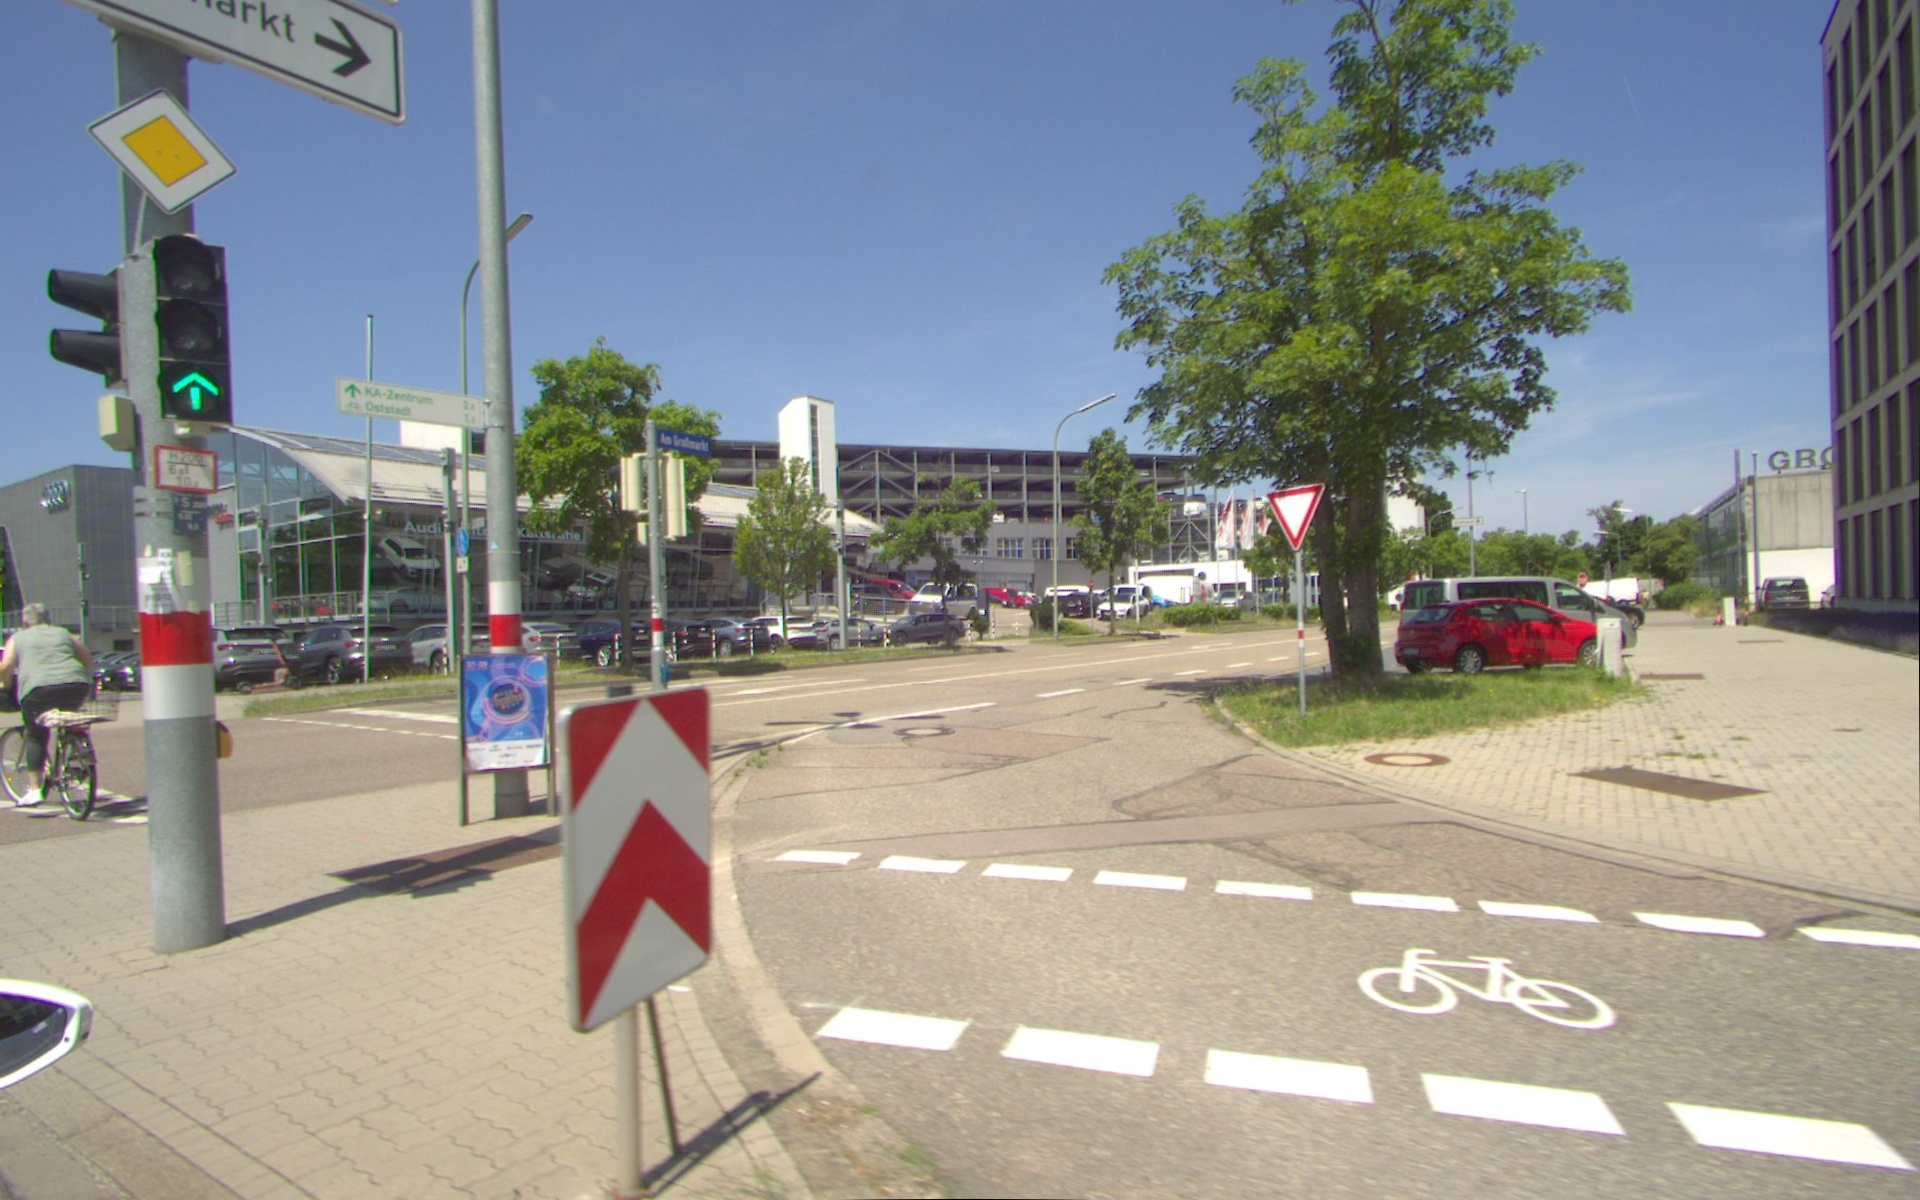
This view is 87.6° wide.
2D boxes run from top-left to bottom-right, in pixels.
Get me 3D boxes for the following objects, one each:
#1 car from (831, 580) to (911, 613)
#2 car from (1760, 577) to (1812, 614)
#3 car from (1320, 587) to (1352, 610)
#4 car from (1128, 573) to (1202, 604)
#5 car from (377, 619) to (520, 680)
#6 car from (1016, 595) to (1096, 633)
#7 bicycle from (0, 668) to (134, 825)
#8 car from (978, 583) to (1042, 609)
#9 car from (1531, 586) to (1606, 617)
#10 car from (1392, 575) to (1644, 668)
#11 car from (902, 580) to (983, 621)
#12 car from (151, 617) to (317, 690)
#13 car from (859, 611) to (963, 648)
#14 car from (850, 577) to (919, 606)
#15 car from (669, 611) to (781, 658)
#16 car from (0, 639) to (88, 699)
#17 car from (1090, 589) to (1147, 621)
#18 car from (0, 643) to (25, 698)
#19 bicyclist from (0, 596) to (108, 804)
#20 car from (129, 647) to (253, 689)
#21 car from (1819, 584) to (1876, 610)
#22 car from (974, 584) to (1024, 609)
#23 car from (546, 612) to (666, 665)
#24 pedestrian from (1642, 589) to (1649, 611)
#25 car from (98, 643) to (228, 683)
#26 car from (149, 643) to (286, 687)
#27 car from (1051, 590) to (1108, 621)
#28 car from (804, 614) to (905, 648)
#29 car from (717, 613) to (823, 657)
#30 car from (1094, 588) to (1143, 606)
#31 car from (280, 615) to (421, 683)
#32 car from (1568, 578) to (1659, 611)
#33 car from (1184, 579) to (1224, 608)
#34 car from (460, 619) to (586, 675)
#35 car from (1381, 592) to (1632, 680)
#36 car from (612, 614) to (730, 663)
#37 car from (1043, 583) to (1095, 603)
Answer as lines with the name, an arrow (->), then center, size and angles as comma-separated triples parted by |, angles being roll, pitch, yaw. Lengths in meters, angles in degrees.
car -> -4.904, -0.199, 55.787 | 1.889, 1.730, 4.559 | -2, 0, 35
car -> 44.106, -0.206, 53.518 | 1.772, 1.749, 3.977 | -2, -2, 35
car -> 35.639, -0.152, 94.921 | 1.894, 2.040, 3.975 | -2, 0, 35
car -> 13.859, -0.741, 67.864 | 4.522, 1.911, 1.904 | -2, 0, 31
car -> -14.929, 1.460, 29.216 | 3.938, 1.675, 1.844 | -2, -3, 29
car -> 4.790, 0.670, 49.450 | 1.889, 1.716, 4.559 | -2, 0, 35
bicycle -> -7.678, 1.159, 8.347 | 1.867, 1.147, 0.627 | -1, -1, 30
car -> 3.843, -0.264, 76.965 | 4.526, 1.821, 1.902 | -2, 0, 34
car -> 43.427, 0.158, 71.471 | 4.514, 2.039, 1.989 | -2, -2, 34
car -> 12.422, 0.455, 22.383 | 4.841, 1.911, 1.918 | -1, 0, -12
car -> -0.866, 0.023, 53.189 | 1.885, 1.992, 5.227 | -2, 0, 30
car -> -17.946, 1.336, 24.708 | 4.444, 1.578, 1.863 | -4, -1, 34
car -> -2.255, 1.345, 46.901 | 4.553, 1.491, 1.839 | -2, 1, -33
car -> -4.928, -0.517, 65.157 | 4.083, 1.744, 1.907 | -2, 0, 26
car -> -8.969, 1.343, 38.152 | 3.938, 1.675, 1.844 | -2, -3, 29
car -> -23.622, 1.618, 23.419 | 1.844, 1.407, 4.582 | -2, -3, 34
car -> 9.407, 0.307, 59.162 | 1.971, 1.727, 3.982 | -2, -2, 30
car -> -25.912, 1.754, 24.520 | 1.843, 1.407, 4.089 | -2, -3, 32
bicyclist -> -7.660, 0.806, 8.332 | 0.813, 1.626, 0.627 | -1, -2, 30
car -> -31.014, 2.716, 40.481 | 1.619, 1.600, 3.641 | -2, -3, 32
car -> 46.050, -0.141, 52.037 | 1.673, 1.171, 3.977 | -2, -3, 34
car -> 2.905, -0.218, 73.654 | 1.859, 1.728, 3.977 | -2, -1, 34
car -> -11.841, 1.283, 33.446 | 3.852, 1.675, 1.627 | -2, -1, 29
pedestrian -> 48.941, 0.021, 71.487 | 0.399, 1.580, 0.546 | -1, 0, 34
car -> -33.481, 2.620, 42.174 | 1.611, 1.592, 3.976 | -2, -3, 32
car -> -28.885, 2.508, 39.070 | 1.633, 1.642, 3.979 | -2, -3, 32
car -> 7.240, 0.375, 60.351 | 1.971, 1.727, 3.982 | -2, -2, 30
car -> -5.136, 1.499, 49.064 | 4.526, 1.491, 1.902 | -1, 0, -33
car -> -7.678, 1.424, 40.411 | 3.938, 1.675, 1.844 | -2, -3, 29
car -> 15.554, -0.305, 98.181 | 4.298, 1.674, 1.902 | -2, 0, 34
car -> -16.304, 1.316, 26.754 | 3.947, 1.675, 1.839 | -3, -3, 36
car -> 57.637, -0.429, 88.356 | 6.607, 2.552, 2.206 | -2, -2, 36
car -> 18.927, -0.460, 77.573 | 1.812, 2.039, 3.981 | -2, -2, 32
car -> -13.612, 1.415, 31.166 | 3.759, 1.637, 1.635 | -1, -1, 29
car -> 10.422, 0.676, 19.227 | 3.923, 1.451, 1.700 | -2, -1, -7
car -> -10.396, 1.415, 35.939 | 3.938, 1.675, 1.844 | -2, -3, 29
car -> 9.951, -0.621, 91.265 | 4.295, 1.674, 1.904 | -2, 0, 32
